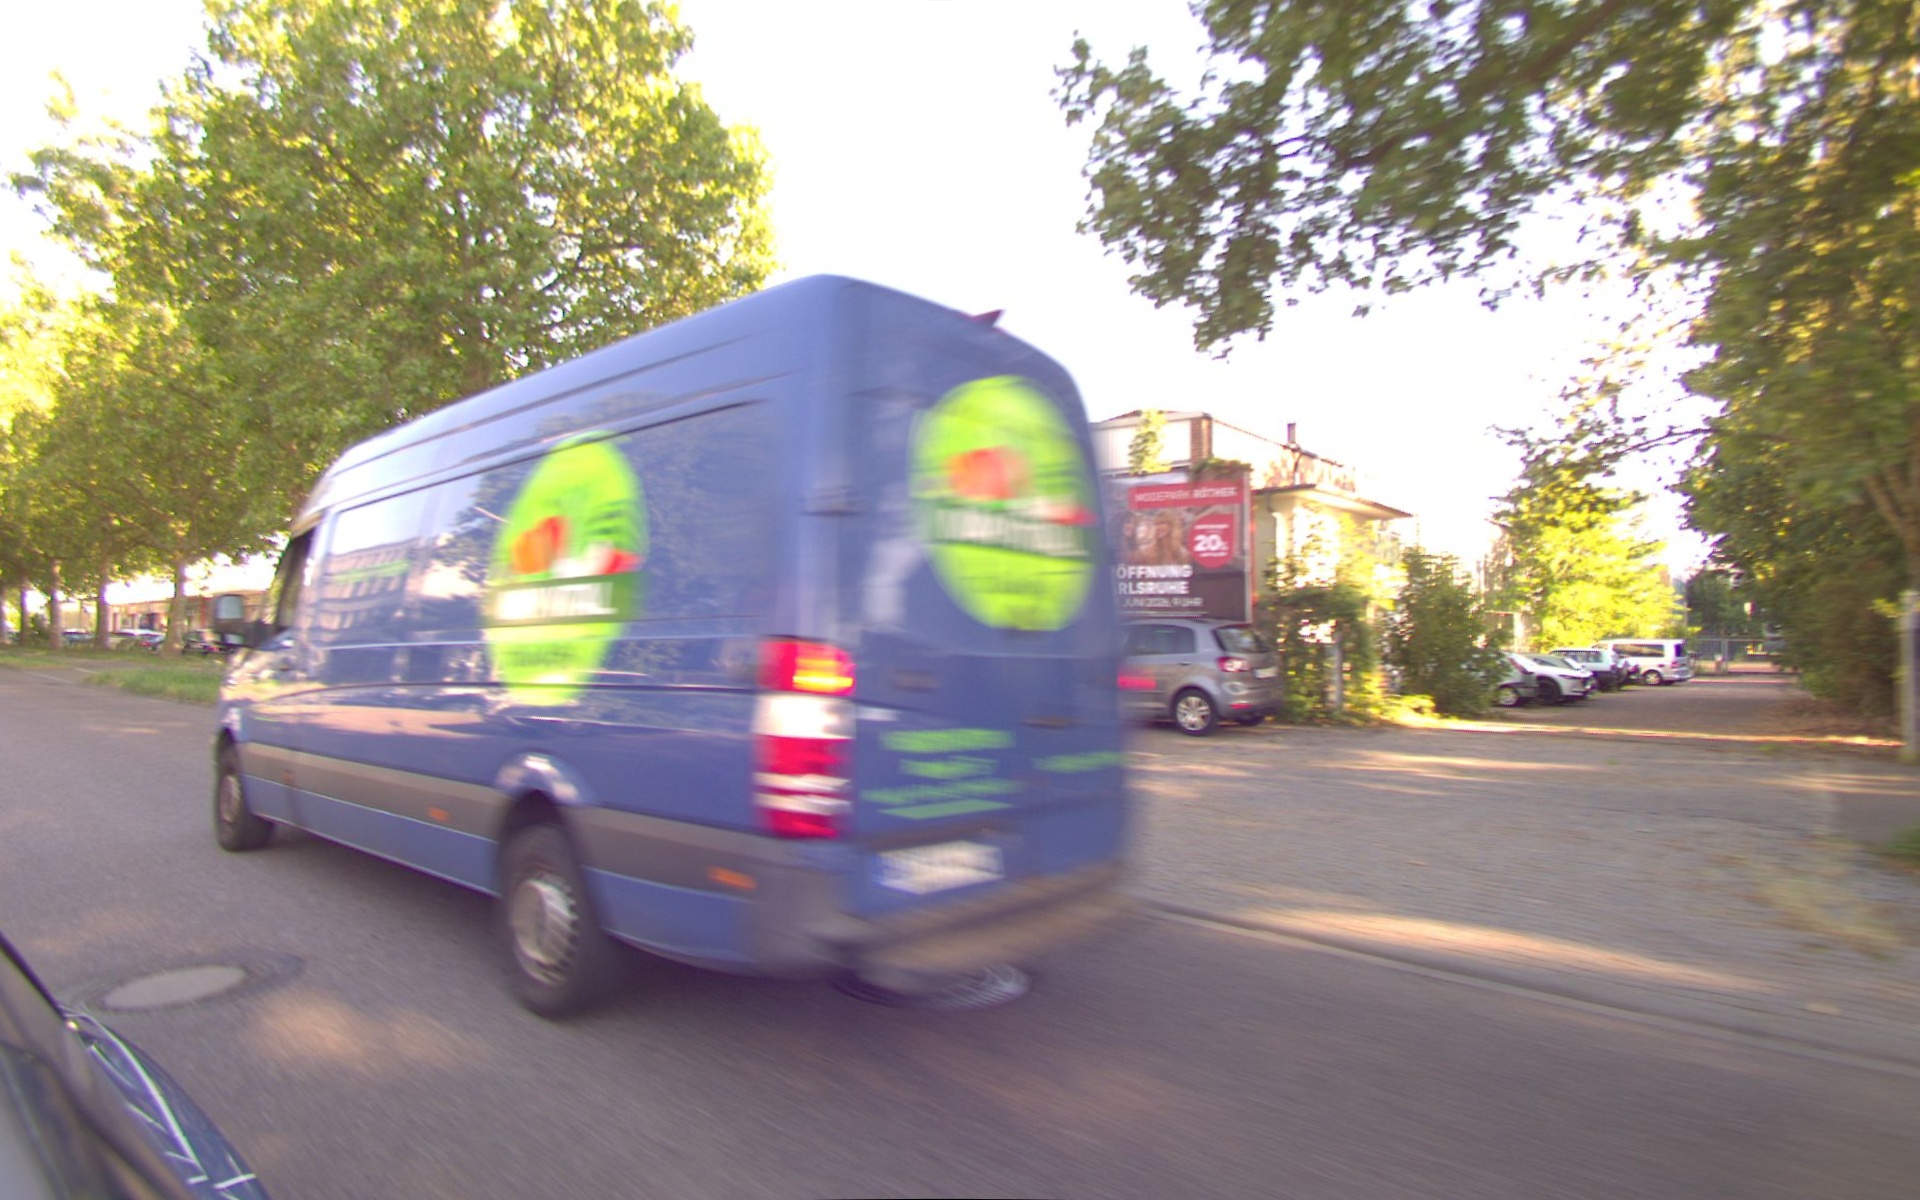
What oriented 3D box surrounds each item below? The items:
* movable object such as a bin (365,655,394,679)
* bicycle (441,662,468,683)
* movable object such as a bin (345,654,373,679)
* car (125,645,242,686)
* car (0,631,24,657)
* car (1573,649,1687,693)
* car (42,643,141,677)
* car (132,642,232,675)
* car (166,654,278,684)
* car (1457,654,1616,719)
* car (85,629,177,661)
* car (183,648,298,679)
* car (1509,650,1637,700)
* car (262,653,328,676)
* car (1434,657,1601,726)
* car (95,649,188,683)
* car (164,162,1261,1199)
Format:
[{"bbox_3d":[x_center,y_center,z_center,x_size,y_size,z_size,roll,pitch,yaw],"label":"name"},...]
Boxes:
[{"bbox_3d":[-35.623,4.093,62.083,1.626,1.442,1.046,-2,-2,39],"label":"movable object such as a bin"},{"bbox_3d":[-27.983,4.000,56.033,2.159,1.066,0.530,-2,3,43],"label":"bicycle"},{"bbox_3d":[-37.193,4.116,62.620,1.571,1.442,1.046,-2,-2,39],"label":"movable object such as a bin"},{"bbox_3d":[-36.853,3.052,48.171,1.974,1.744,4.479,-1,-1,4],"label":"car"},{"bbox_3d":[-112.297,4.912,116.029,2.575,2.875,6.930,-1,-6,13],"label":"car"},{"bbox_3d":[29.414,3.082,44.449,3.995,1.763,1.974,-2,-2,39],"label":"car"},{"bbox_3d":[-49.666,3.416,57.972,1.977,1.763,3.989,-1,-1,9],"label":"car"},{"bbox_3d":[-41.905,3.119,54.627,1.974,1.642,4.257,-1,-1,4],"label":"car"},{"bbox_3d":[-34.229,3.180,47.101,1.972,1.316,4.484,0,-3,0],"label":"car"},{"bbox_3d":[17.816,2.615,31.346,3.995,1.763,1.974,-2,-2,39],"label":"car"},{"bbox_3d":[-46.730,2.512,57.172,1.969,1.712,4.268,0,-1,-6],"label":"car"},{"bbox_3d":[-32.202,2.819,45.476,1.972,1.316,4.484,0,-3,0],"label":"car"},{"bbox_3d":[23.635,2.842,39.074,3.995,1.763,1.974,-2,-2,39],"label":"car"},{"bbox_3d":[-44.007,4.250,67.042,3.244,1.417,1.713,0,-1,-11],"label":"car"},{"bbox_3d":[16.304,2.611,29.678,3.995,1.763,1.974,-2,-2,39],"label":"car"},{"bbox_3d":[-44.303,3.547,54.914,1.969,1.642,4.268,0,-1,-6],"label":"car"},{"bbox_3d":[-2.149,0.445,5.513,6.997,2.680,2.105,-3,-4,41],"label":"car"}]
